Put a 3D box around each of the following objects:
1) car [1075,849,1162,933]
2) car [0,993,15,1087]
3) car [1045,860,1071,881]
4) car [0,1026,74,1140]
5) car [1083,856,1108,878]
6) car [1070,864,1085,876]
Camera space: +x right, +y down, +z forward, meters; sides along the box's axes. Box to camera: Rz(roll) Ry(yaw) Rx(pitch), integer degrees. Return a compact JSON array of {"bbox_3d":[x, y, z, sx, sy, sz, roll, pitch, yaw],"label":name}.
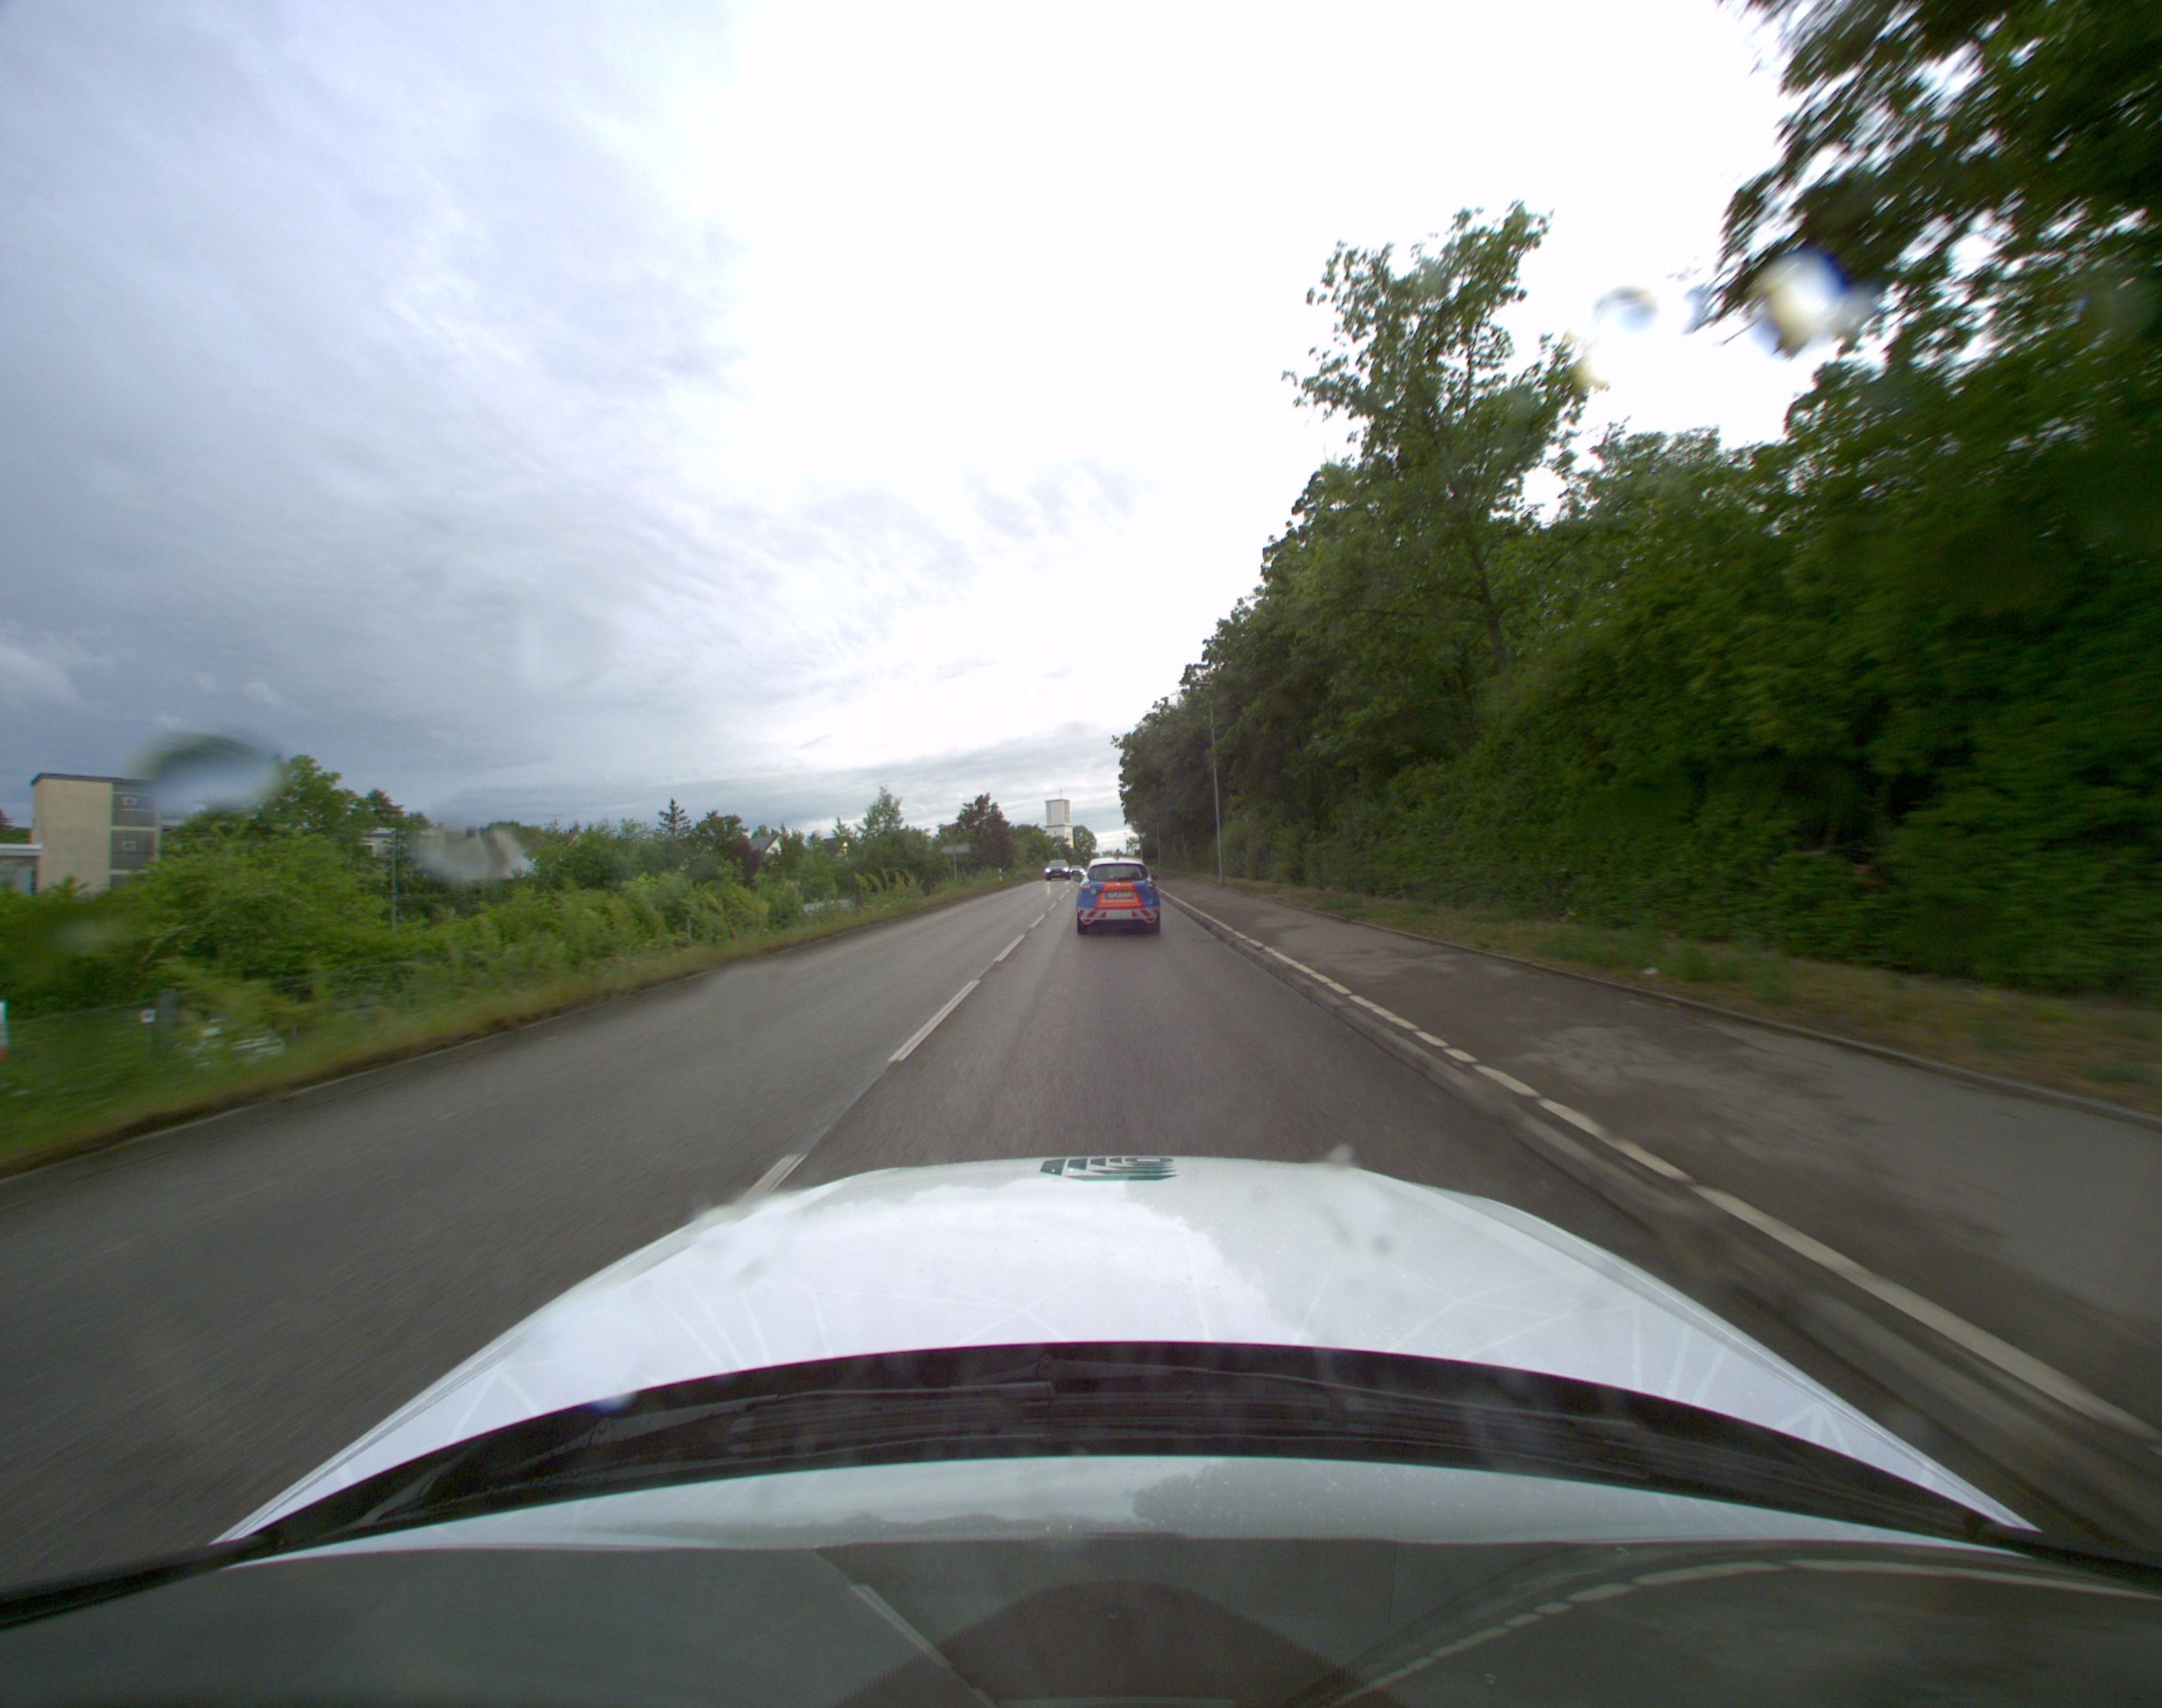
[{"bbox_3d":[0.781,0.779,17.808,1.651,1.593,3.569,-2,-2,1],"label":"car"},{"bbox_3d":[-31.293,5.211,19.582,1.959,2.461,6.639,-7,-1,33],"label":"car"},{"bbox_3d":[-1.831,1.326,66.480,1.862,1.585,4.415,-2,0,1],"label":"car"},{"bbox_3d":[-20.572,4.319,13.437,1.843,1.803,4.672,-8,0,32],"label":"car"},{"bbox_3d":[1.130,1.021,65.282,1.796,1.590,3.562,-4,-1,0],"label":"car"},{"bbox_3d":[-0.473,2.077,108.862,1.855,1.503,4.729,-2,-1,1],"label":"car"}]
